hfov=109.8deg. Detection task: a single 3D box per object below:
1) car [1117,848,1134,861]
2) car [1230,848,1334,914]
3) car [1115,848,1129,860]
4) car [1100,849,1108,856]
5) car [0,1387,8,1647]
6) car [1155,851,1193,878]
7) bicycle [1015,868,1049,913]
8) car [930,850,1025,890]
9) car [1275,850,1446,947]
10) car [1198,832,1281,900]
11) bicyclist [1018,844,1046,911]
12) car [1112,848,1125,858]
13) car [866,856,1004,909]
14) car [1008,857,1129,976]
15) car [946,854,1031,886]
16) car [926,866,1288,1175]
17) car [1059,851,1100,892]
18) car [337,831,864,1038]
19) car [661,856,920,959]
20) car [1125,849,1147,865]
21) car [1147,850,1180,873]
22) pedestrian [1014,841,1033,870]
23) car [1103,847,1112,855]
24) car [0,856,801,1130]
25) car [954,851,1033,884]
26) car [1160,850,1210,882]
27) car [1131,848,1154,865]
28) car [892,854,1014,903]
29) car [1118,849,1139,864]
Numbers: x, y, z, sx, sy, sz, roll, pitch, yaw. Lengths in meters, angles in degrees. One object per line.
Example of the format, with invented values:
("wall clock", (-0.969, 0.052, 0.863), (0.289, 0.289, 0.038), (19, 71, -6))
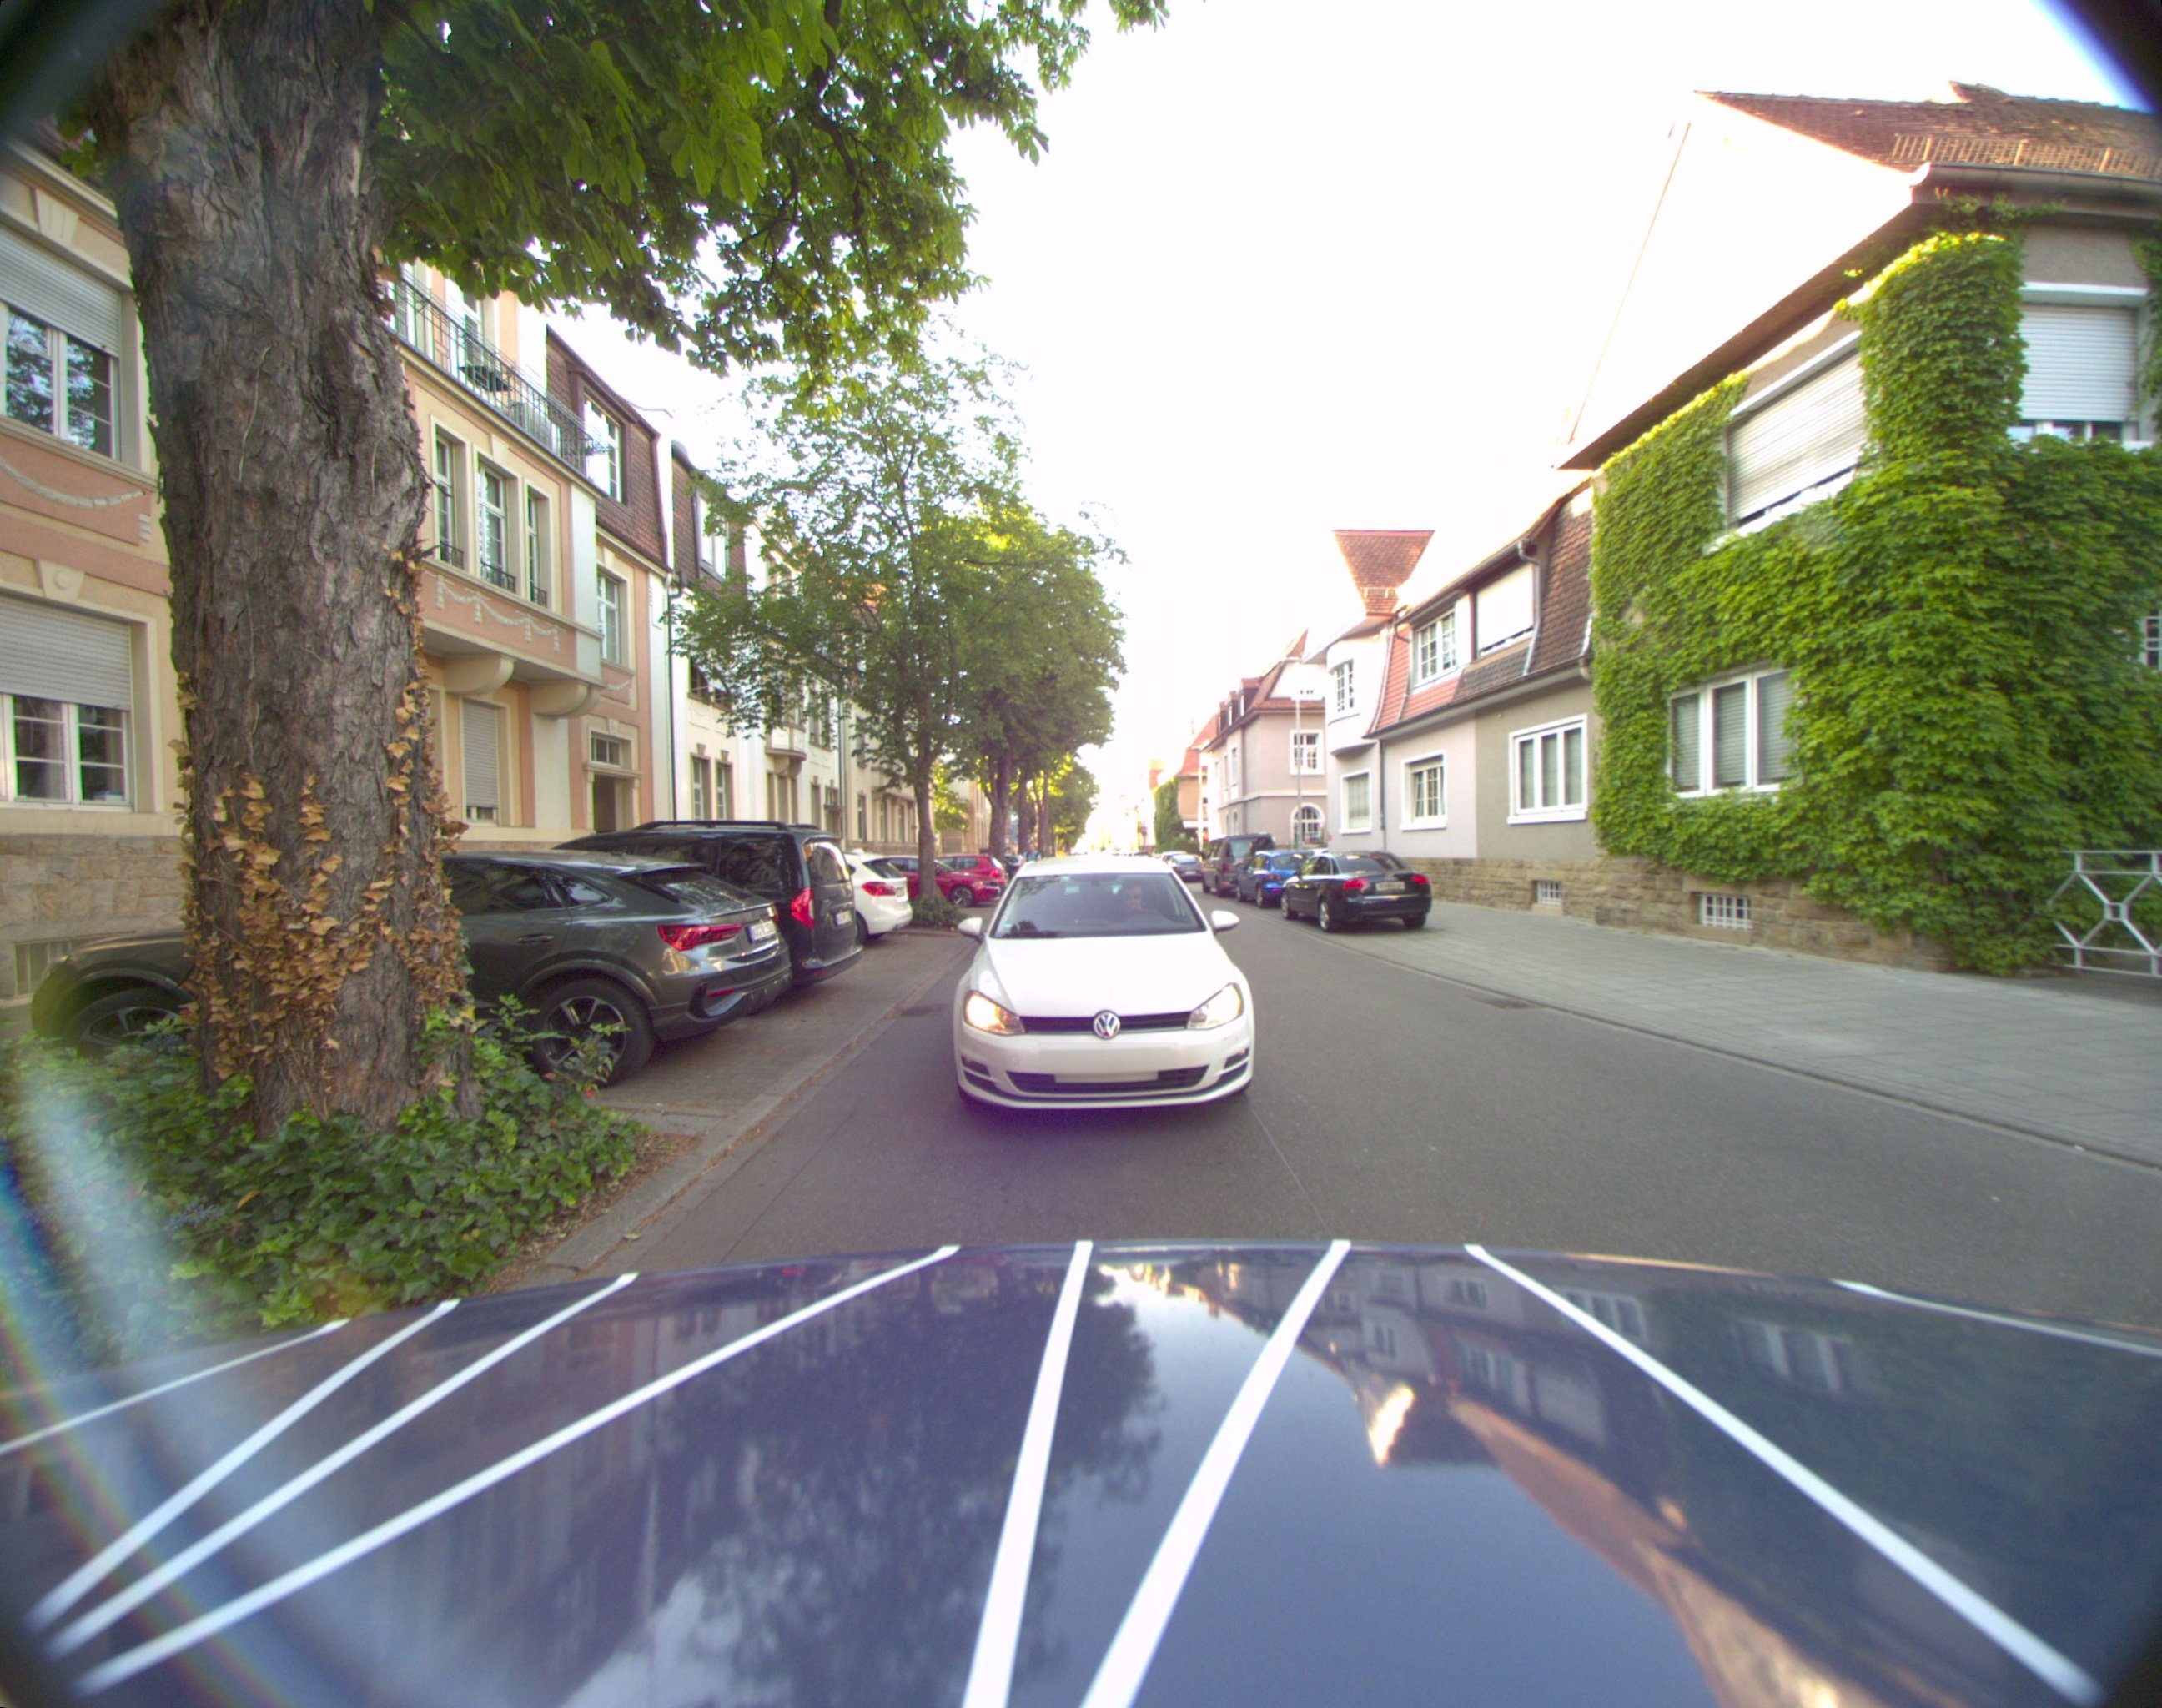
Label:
("car", (5.321, 0.059, 91.082), (1.643, 1.461, 3.689), (-3, 0, -1))
("car", (5.224, 0.626, 20.304), (1.611, 1.455, 4.023), (-4, 1, 0))
("car", (5.457, -0.058, 101.581), (1.643, 1.461, 3.689), (-3, 0, 0))
("car", (5.151, -0.434, 173.340), (1.643, 1.461, 3.689), (-3, 0, 0))
("car", (-4.667, 0.794, 0.515), (4.835, 1.814, 1.880), (1, 1, -4))
("car", (5.120, 0.545, 42.209), (1.541, 1.363, 3.945), (-3, 0, 0))
("bicycle", (-1.321, 0.975, 20.799), (0.744, 1.111, 2.013), (-2, 0, 1))
("car", (-4.174, 0.638, 30.943), (3.622, 1.555, 1.537), (0, 1, 0))
("car", (5.074, 0.717, 14.388), (1.751, 1.421, 4.023), (-4, 1, 1))
("car", (5.151, 0.330, 25.238), (1.719, 1.961, 4.310), (-4, 1, 0))
("bicyclist", (-1.328, 0.627, 20.773), (0.648, 1.765, 0.830), (-2, 1, 1))
("car", (5.674, -0.175, 115.663), (1.643, 1.461, 3.689), (-3, 0, 0))
("car", (-4.122, 0.788, 21.800), (3.622, 1.395, 1.537), (1, 1, 0))
("car", (-0.141, 0.840, 12.156), (1.600, 1.546, 4.000), (1, 0, 1))
("car", (-4.141, 0.723, 34.239), (3.622, 1.395, 1.537), (0, 1, 0))
("car", (0.099, 0.884, 5.903), (1.799, 1.420, 4.023), (-2, 0, -1))
("car", (-0.044, 0.674, 31.226), (1.560, 1.546, 3.738), (1, 0, 1))
("car", (-4.471, 0.712, 7.592), (4.173, 1.816, 1.594), (1, 1, -4))
("car", (-4.565, 0.827, 12.333), (3.623, 1.541, 1.537), (1, 1, -4))
("car", (5.408, 0.264, 75.386), (1.643, 1.461, 3.688), (-3, 0, -4))
("car", (5.442, 0.467, 50.616), (1.719, 1.363, 3.945), (-3, 0, 0))
("pedestrian", (-4.113, 0.120, 54.080), (1.188, 2.002, 0.931), (1, 1, 5))
("car", (5.234, -0.530, 149.328), (1.643, 1.461, 3.689), (-3, 0, 0))
("car", (-4.373, 0.846, 5.413), (4.173, 1.583, 1.594), (1, 1, -4))
("car", (-4.202, 0.643, 36.879), (3.622, 1.555, 1.537), (0, 1, 0))
("car", (4.979, 0.559, 36.814), (1.719, 1.363, 4.334), (-3, 0, 0))
("car", (5.491, 0.204, 68.198), (1.643, 1.461, 3.945), (-3, 0, 0))
("car", (-4.046, 0.766, 24.339), (3.622, 1.456, 1.537), (1, 1, 0))
("car", (5.066, 0.222, 80.866), (1.643, 1.461, 3.688), (-3, 0, -4))
